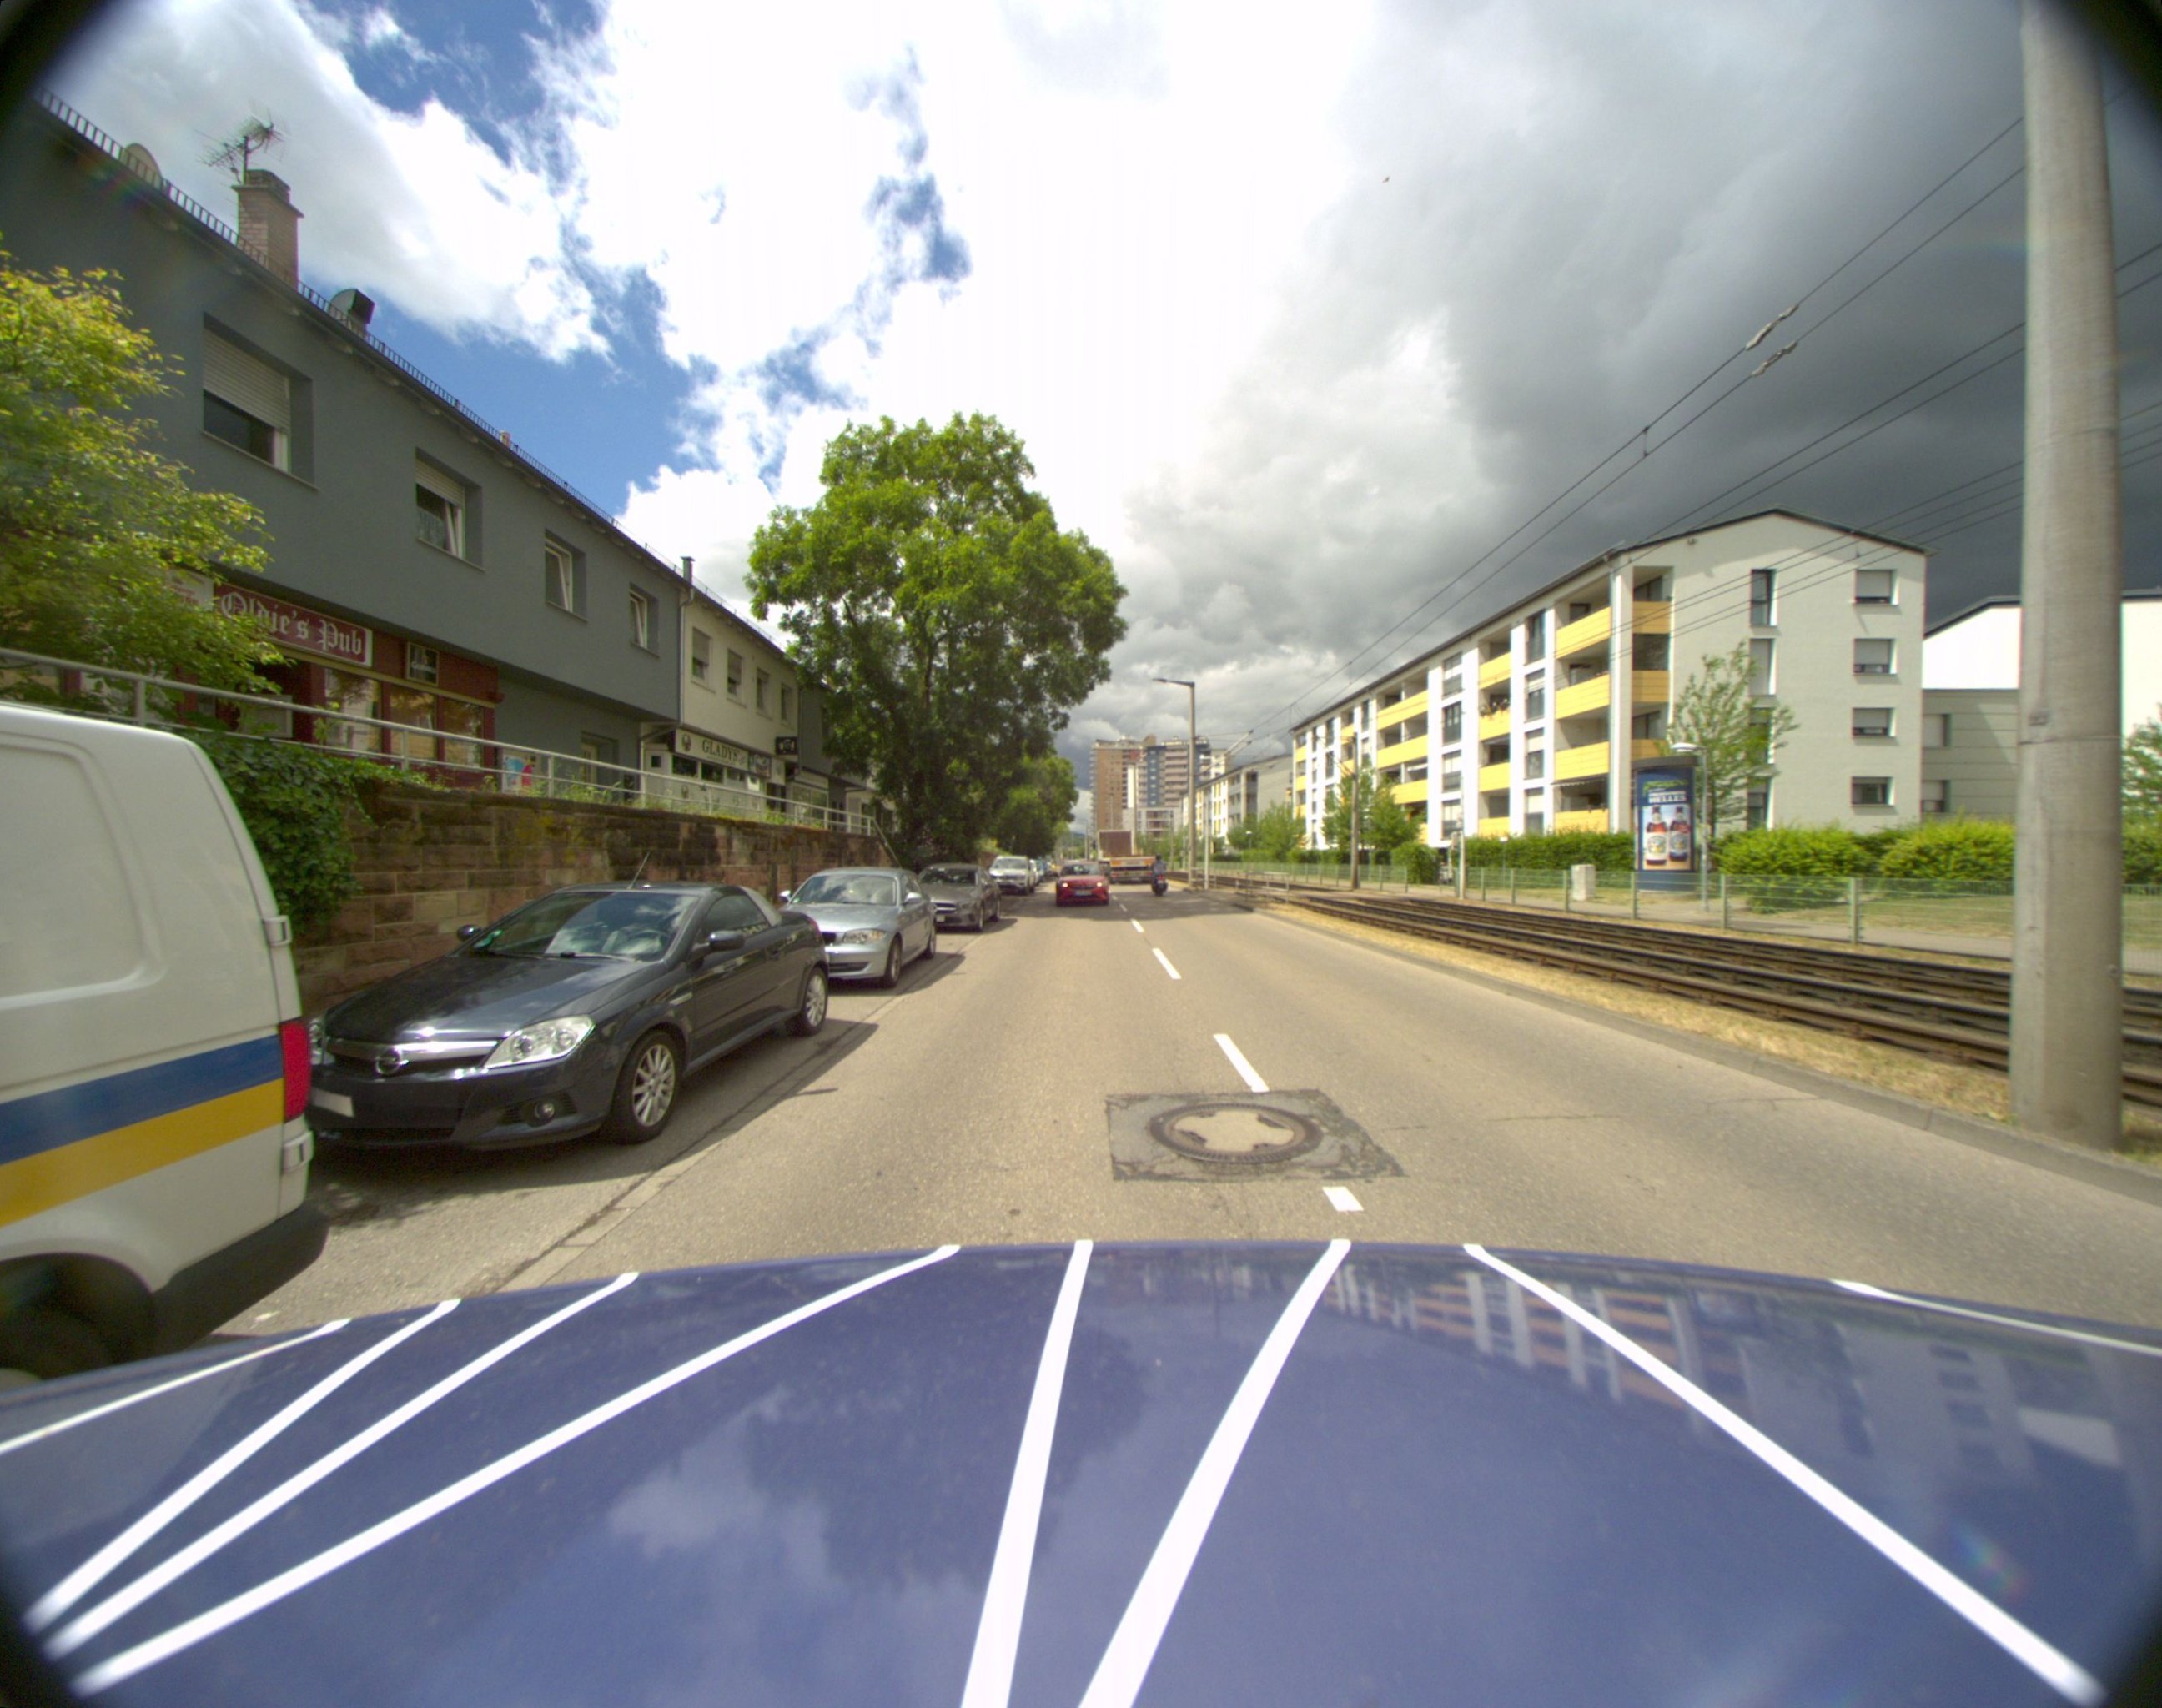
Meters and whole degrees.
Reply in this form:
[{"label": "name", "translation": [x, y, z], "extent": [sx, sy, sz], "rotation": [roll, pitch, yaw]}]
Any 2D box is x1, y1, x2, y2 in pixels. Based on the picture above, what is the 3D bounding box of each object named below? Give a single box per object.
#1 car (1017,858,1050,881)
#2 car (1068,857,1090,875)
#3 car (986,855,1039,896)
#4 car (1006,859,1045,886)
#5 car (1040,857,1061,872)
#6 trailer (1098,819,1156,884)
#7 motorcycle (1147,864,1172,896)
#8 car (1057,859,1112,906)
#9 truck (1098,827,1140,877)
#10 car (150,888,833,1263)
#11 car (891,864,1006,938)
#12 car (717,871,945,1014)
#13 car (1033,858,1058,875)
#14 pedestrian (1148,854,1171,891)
[{"label": "car", "translation": [-3.074, 0.983, 49.728], "extent": [1.784, 1.420, 4.148], "rotation": [0, 0, 1]}, {"label": "car", "translation": [-0.224, 1.145, 73.752], "extent": [1.927, 1.543, 3.999], "rotation": [-2, 0, -2]}, {"label": "car", "translation": [-2.883, 0.871, 32.804], "extent": [1.819, 1.643, 4.147], "rotation": [0, 0, 1]}, {"label": "car", "translation": [-3.086, 1.005, 43.185], "extent": [1.784, 1.420, 4.148], "rotation": [0, 0, 1]}, {"label": "car", "translation": [-2.914, 1.017, 73.569], "extent": [1.784, 1.420, 4.148], "rotation": [0, 0, 1]}, {"label": "trailer", "translation": [2.657, -0.135, 48.293], "extent": [2.875, 3.428, 14.616], "rotation": [-2, 0, 1]}, {"label": "motorcycle", "translation": [3.070, 0.994, 29.829], "extent": [0.783, 1.181, 1.869], "rotation": [-1, 0, 0]}, {"label": "car", "translation": [0.184, 0.951, 26.675], "extent": [1.723, 1.434, 4.001], "rotation": [-2, 0, 2]}, {"label": "truck", "translation": [2.779, -0.141, 56.672], "extent": [2.852, 3.428, 4.415], "rotation": [-2, 0, 1]}, {"label": "car", "translation": [-3.103, 1.022, 5.076], "extent": [1.578, 1.420, 3.735], "rotation": [0, 0, 1]}, {"label": "car", "translation": [-2.876, 0.982, 17.389], "extent": [1.784, 1.420, 4.148], "rotation": [0, 0, 1]}, {"label": "car", "translation": [-3.104, 1.014, 10.401], "extent": [1.785, 1.420, 4.144], "rotation": [2, 0, -1]}, {"label": "car", "translation": [-2.998, 1.025, 64.851], "extent": [1.784, 1.420, 4.148], "rotation": [0, 0, 1]}, {"label": "pedestrian", "translation": [3.058, 0.716, 29.774], "extent": [0.737, 1.408, 0.927], "rotation": [-2, 0, 0]}]
